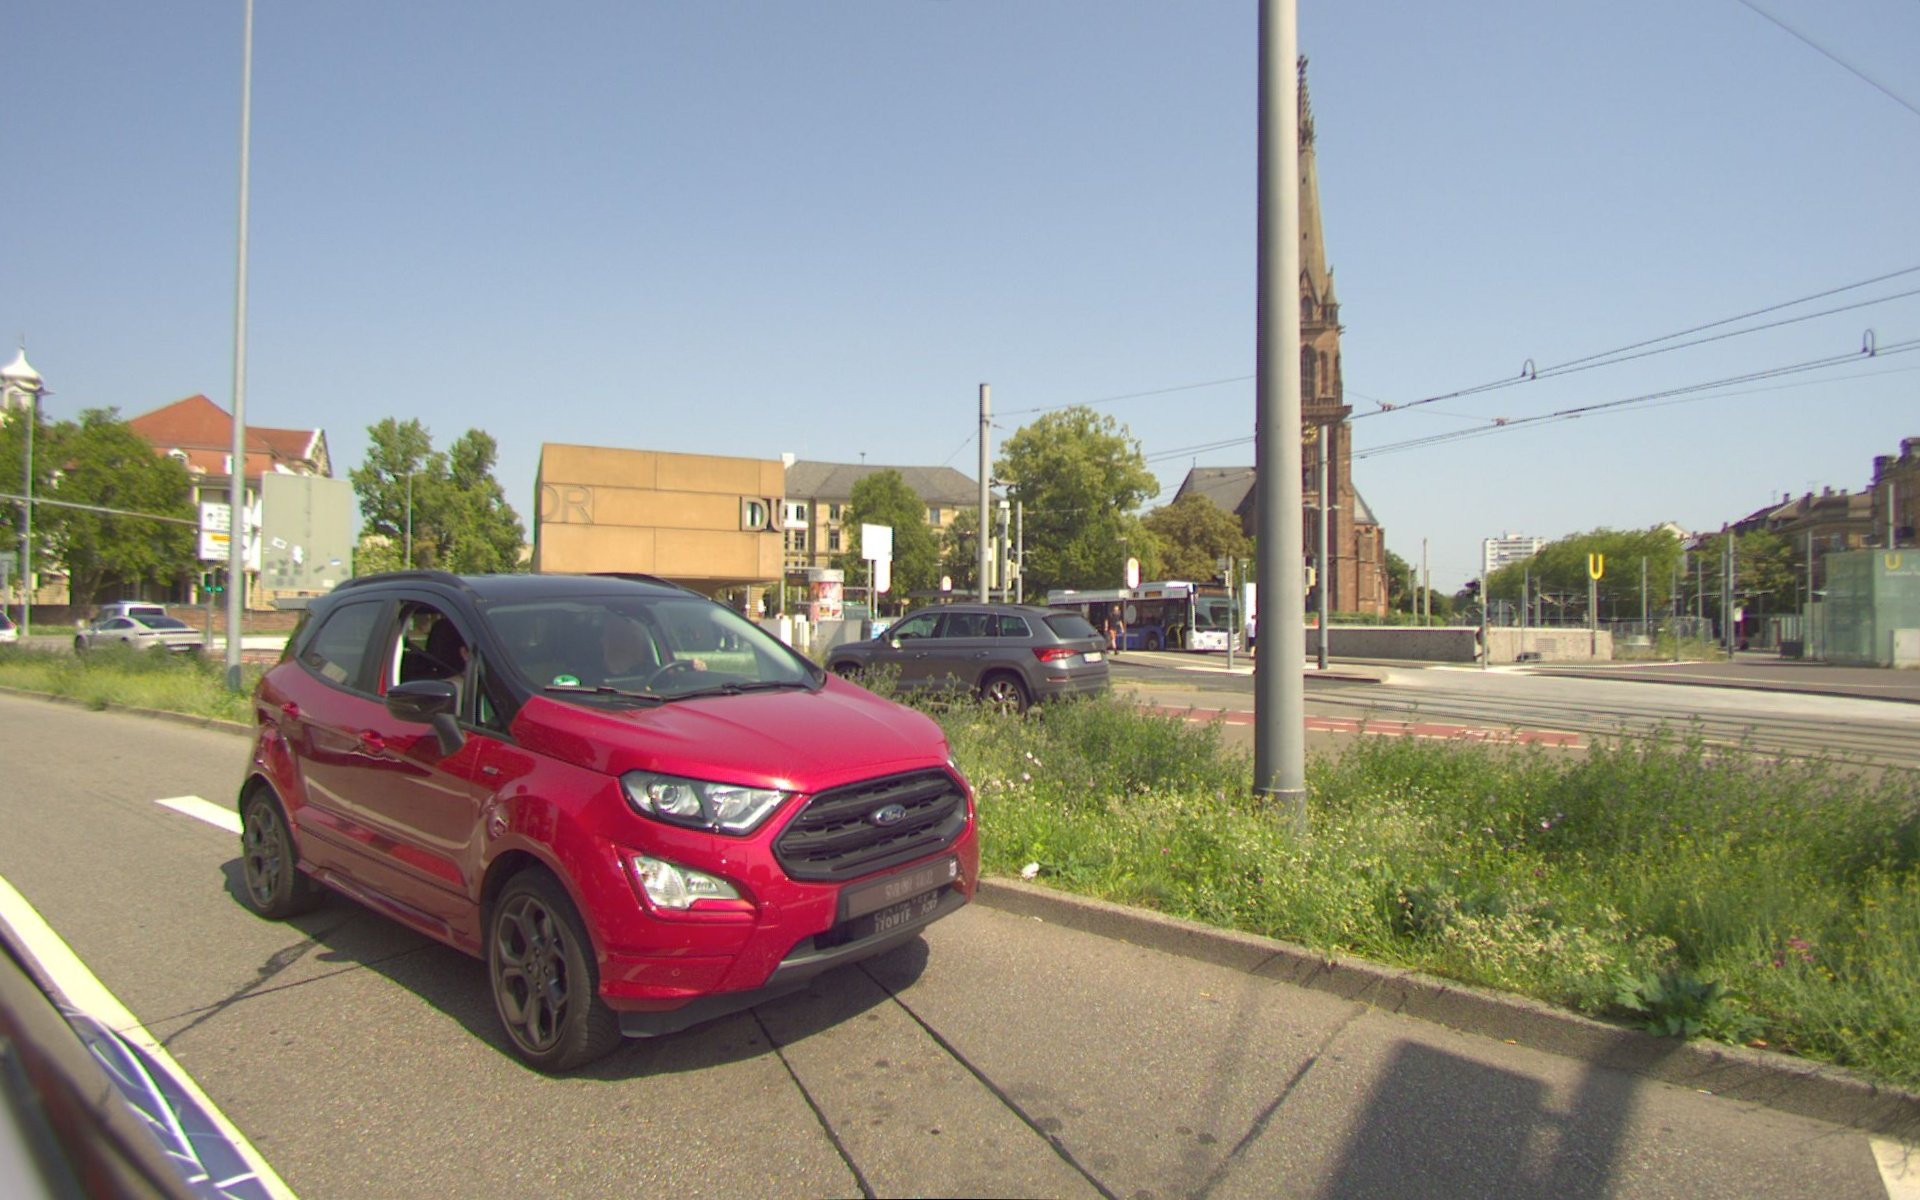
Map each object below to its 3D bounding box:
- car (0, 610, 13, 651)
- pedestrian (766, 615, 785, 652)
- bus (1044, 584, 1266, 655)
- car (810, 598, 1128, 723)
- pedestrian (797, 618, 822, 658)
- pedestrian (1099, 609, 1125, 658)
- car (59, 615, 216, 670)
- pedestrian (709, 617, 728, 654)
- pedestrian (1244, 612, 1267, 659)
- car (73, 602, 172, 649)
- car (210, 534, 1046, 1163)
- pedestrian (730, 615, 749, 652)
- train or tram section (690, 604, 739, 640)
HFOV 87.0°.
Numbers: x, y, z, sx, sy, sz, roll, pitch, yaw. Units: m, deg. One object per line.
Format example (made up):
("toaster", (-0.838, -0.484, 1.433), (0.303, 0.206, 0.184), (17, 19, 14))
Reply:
("car", (-36.525, 1.121, 37.007), (3.456, 1.490, 1.514), (0, -2, 24))
("pedestrian", (-7.594, 1.368, 41.687), (0.541, 1.508, 0.533), (-1, -2, 37))
("bus", (8.124, 0.914, 45.022), (3.346, 2.733, 12.383), (1, -2, -23))
("car", (0.059, 0.827, 15.047), (4.530, 1.612, 1.751), (-1, -2, 33))
("pedestrian", (-5.803, 1.451, 39.059), (0.605, 1.508, 0.762), (-1, -2, 37))
("pedestrian", (5.709, 1.248, 38.063), (0.792, 1.837, 0.535), (1, -2, -24))
("car", (-25.495, 1.290, 31.363), (4.689, 1.597, 1.983), (-1, -2, 26))
("pedestrian", (-9.760, 1.430, 40.895), (0.541, 1.508, 0.533), (-1, -2, 37))
("pedestrian", (11.669, 1.383, 40.004), (0.592, 1.825, 0.639), (-1, 0, -42))
("car", (-34.539, 1.033, 41.725), (3.899, 1.868, 1.850), (0, -2, 29))
("car", (-1.687, 0.651, 4.442), (3.840, 1.598, 1.673), (-1, 0, 39))
("pedestrian", (-9.060, 1.380, 41.662), (0.541, 1.508, 0.533), (-1, -2, 37))
("train or tram section", (-25.670, 2.313, 105.186), (2.658, 3.465, 13.464), (1, -2, -24))
